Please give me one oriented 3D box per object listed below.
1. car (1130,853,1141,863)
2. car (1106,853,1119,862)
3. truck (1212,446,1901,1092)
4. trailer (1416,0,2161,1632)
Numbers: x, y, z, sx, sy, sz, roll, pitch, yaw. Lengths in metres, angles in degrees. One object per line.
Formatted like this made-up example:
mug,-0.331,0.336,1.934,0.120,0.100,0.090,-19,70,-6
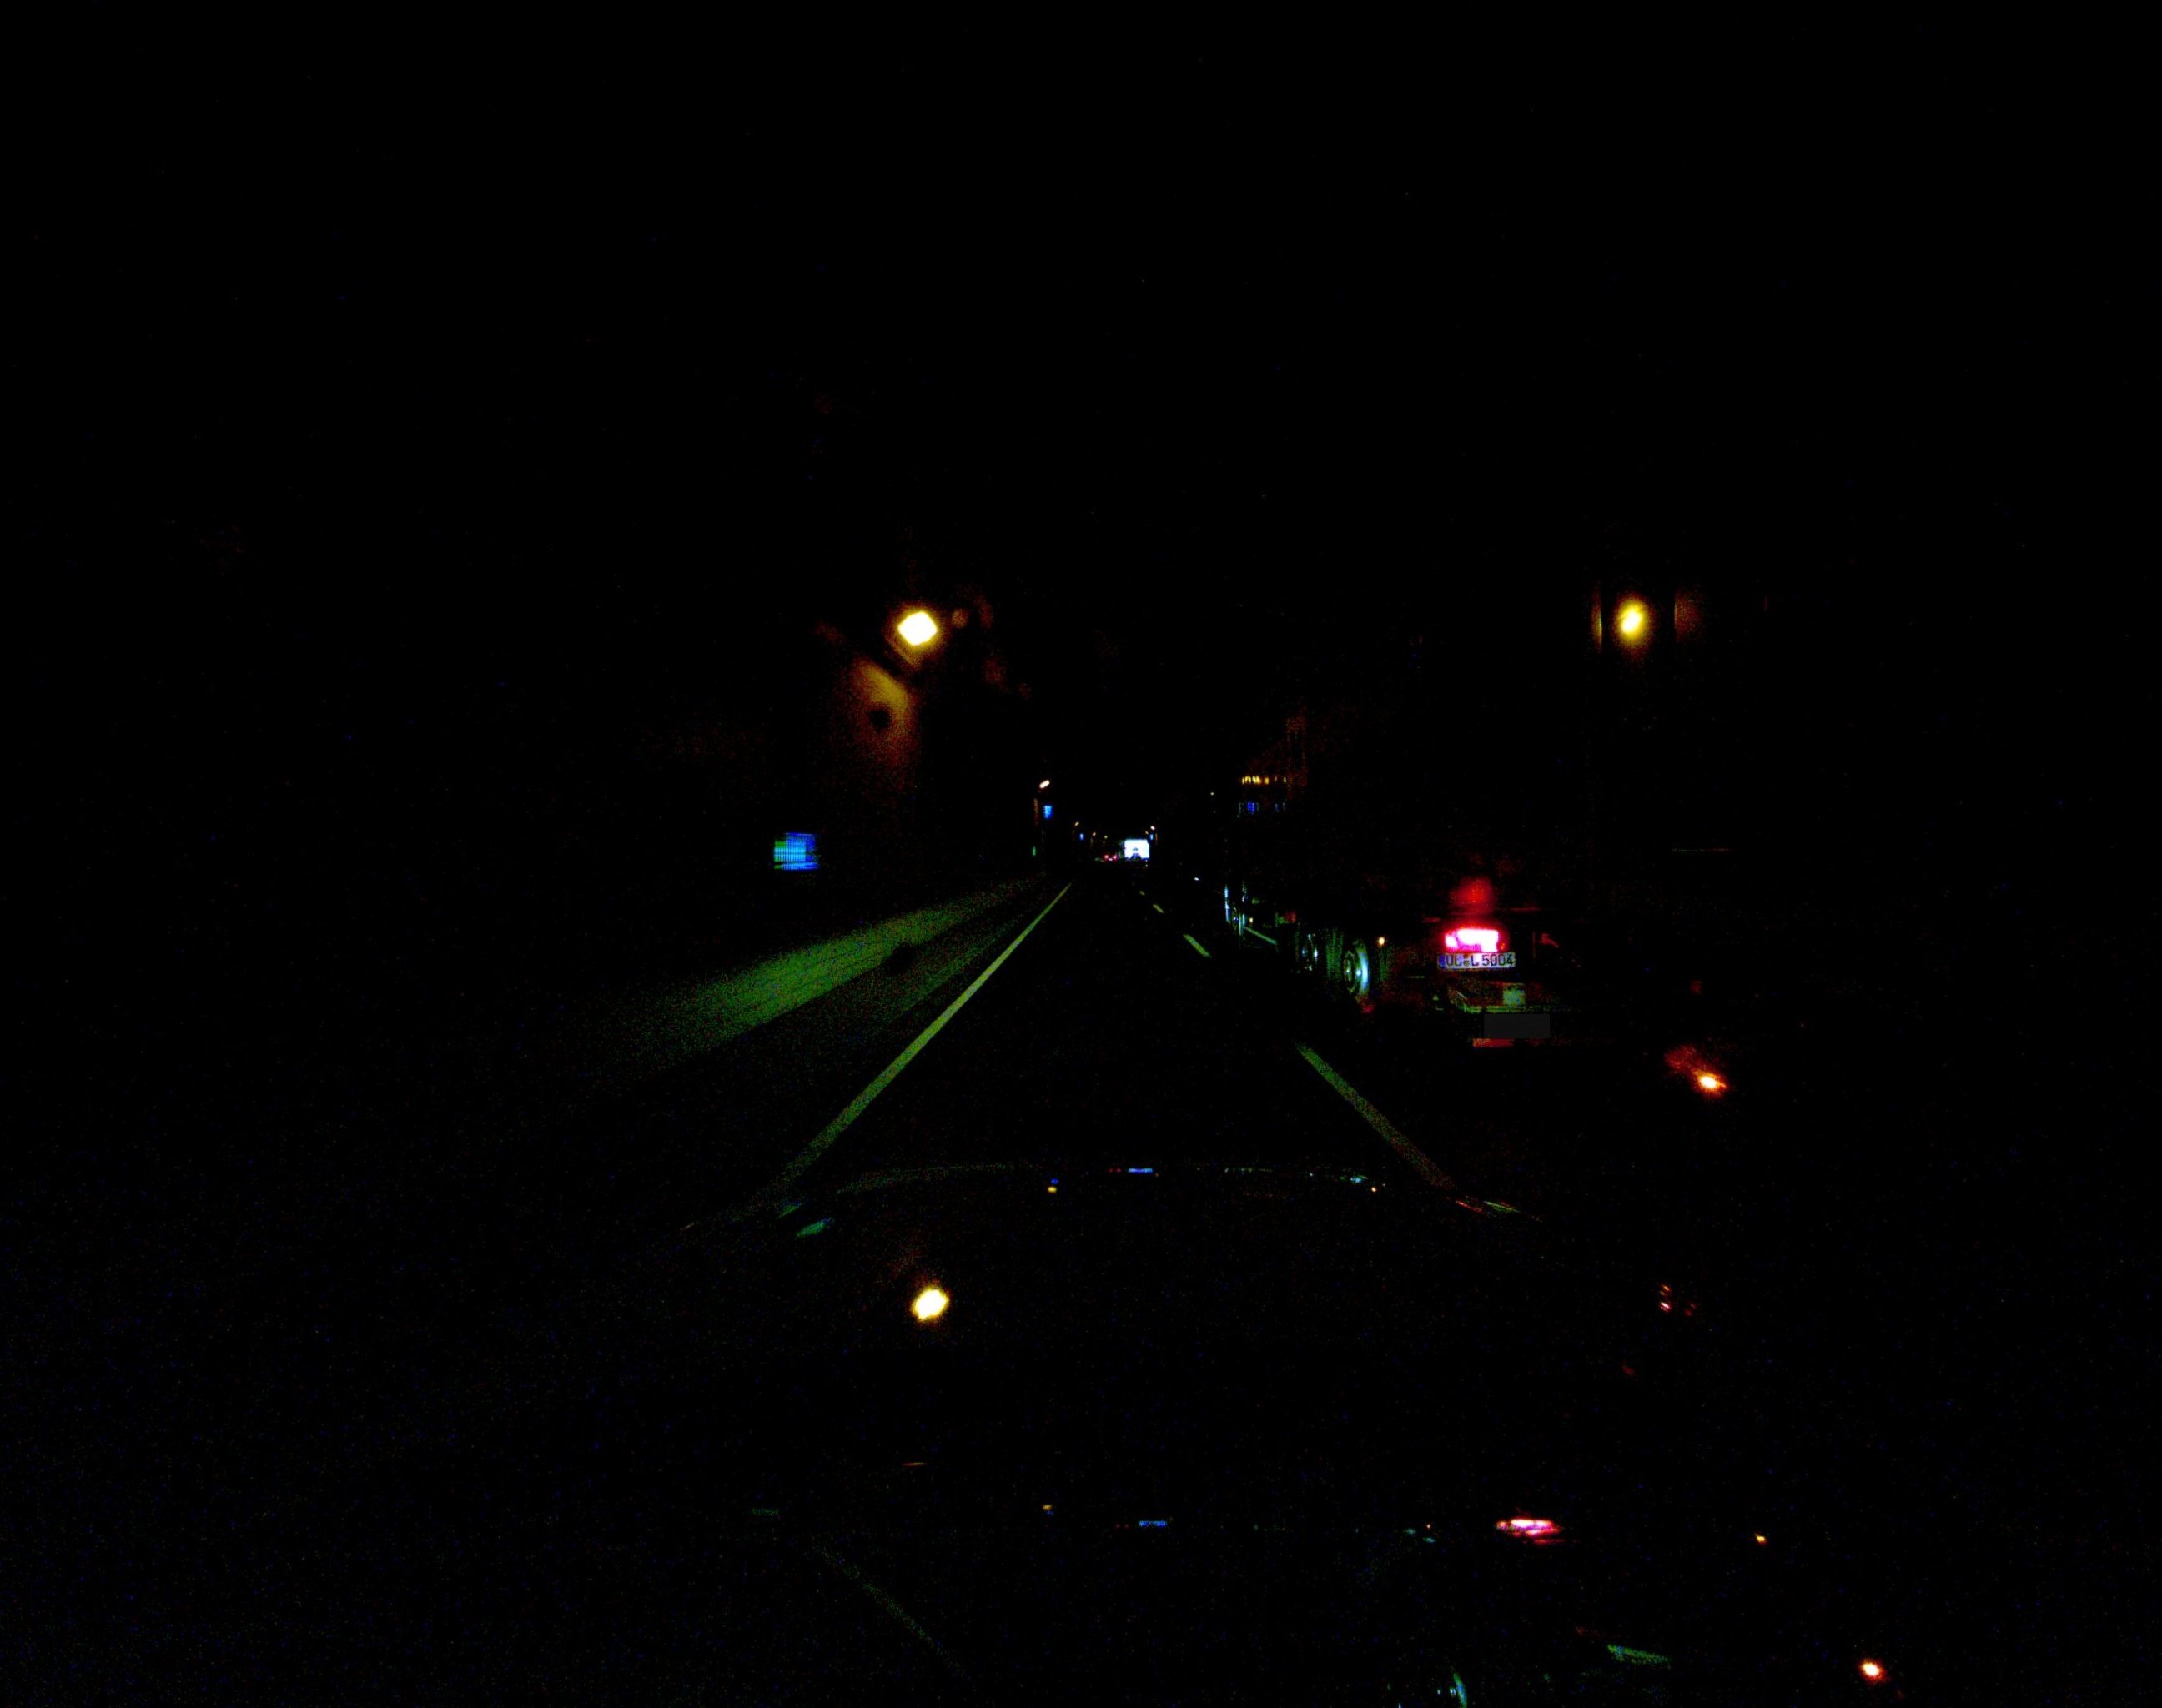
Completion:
car,9.698,0.732,143.892,1.862,1.732,4.003,0,-1,3
car,4.789,0.521,124.301,1.832,1.388,4.005,0,-1,5
truck,3.693,-0.518,9.941,2.878,3.913,9.913,-1,0,2
trailer,3.372,-0.508,0.522,2.864,3.858,8.952,-1,0,2
